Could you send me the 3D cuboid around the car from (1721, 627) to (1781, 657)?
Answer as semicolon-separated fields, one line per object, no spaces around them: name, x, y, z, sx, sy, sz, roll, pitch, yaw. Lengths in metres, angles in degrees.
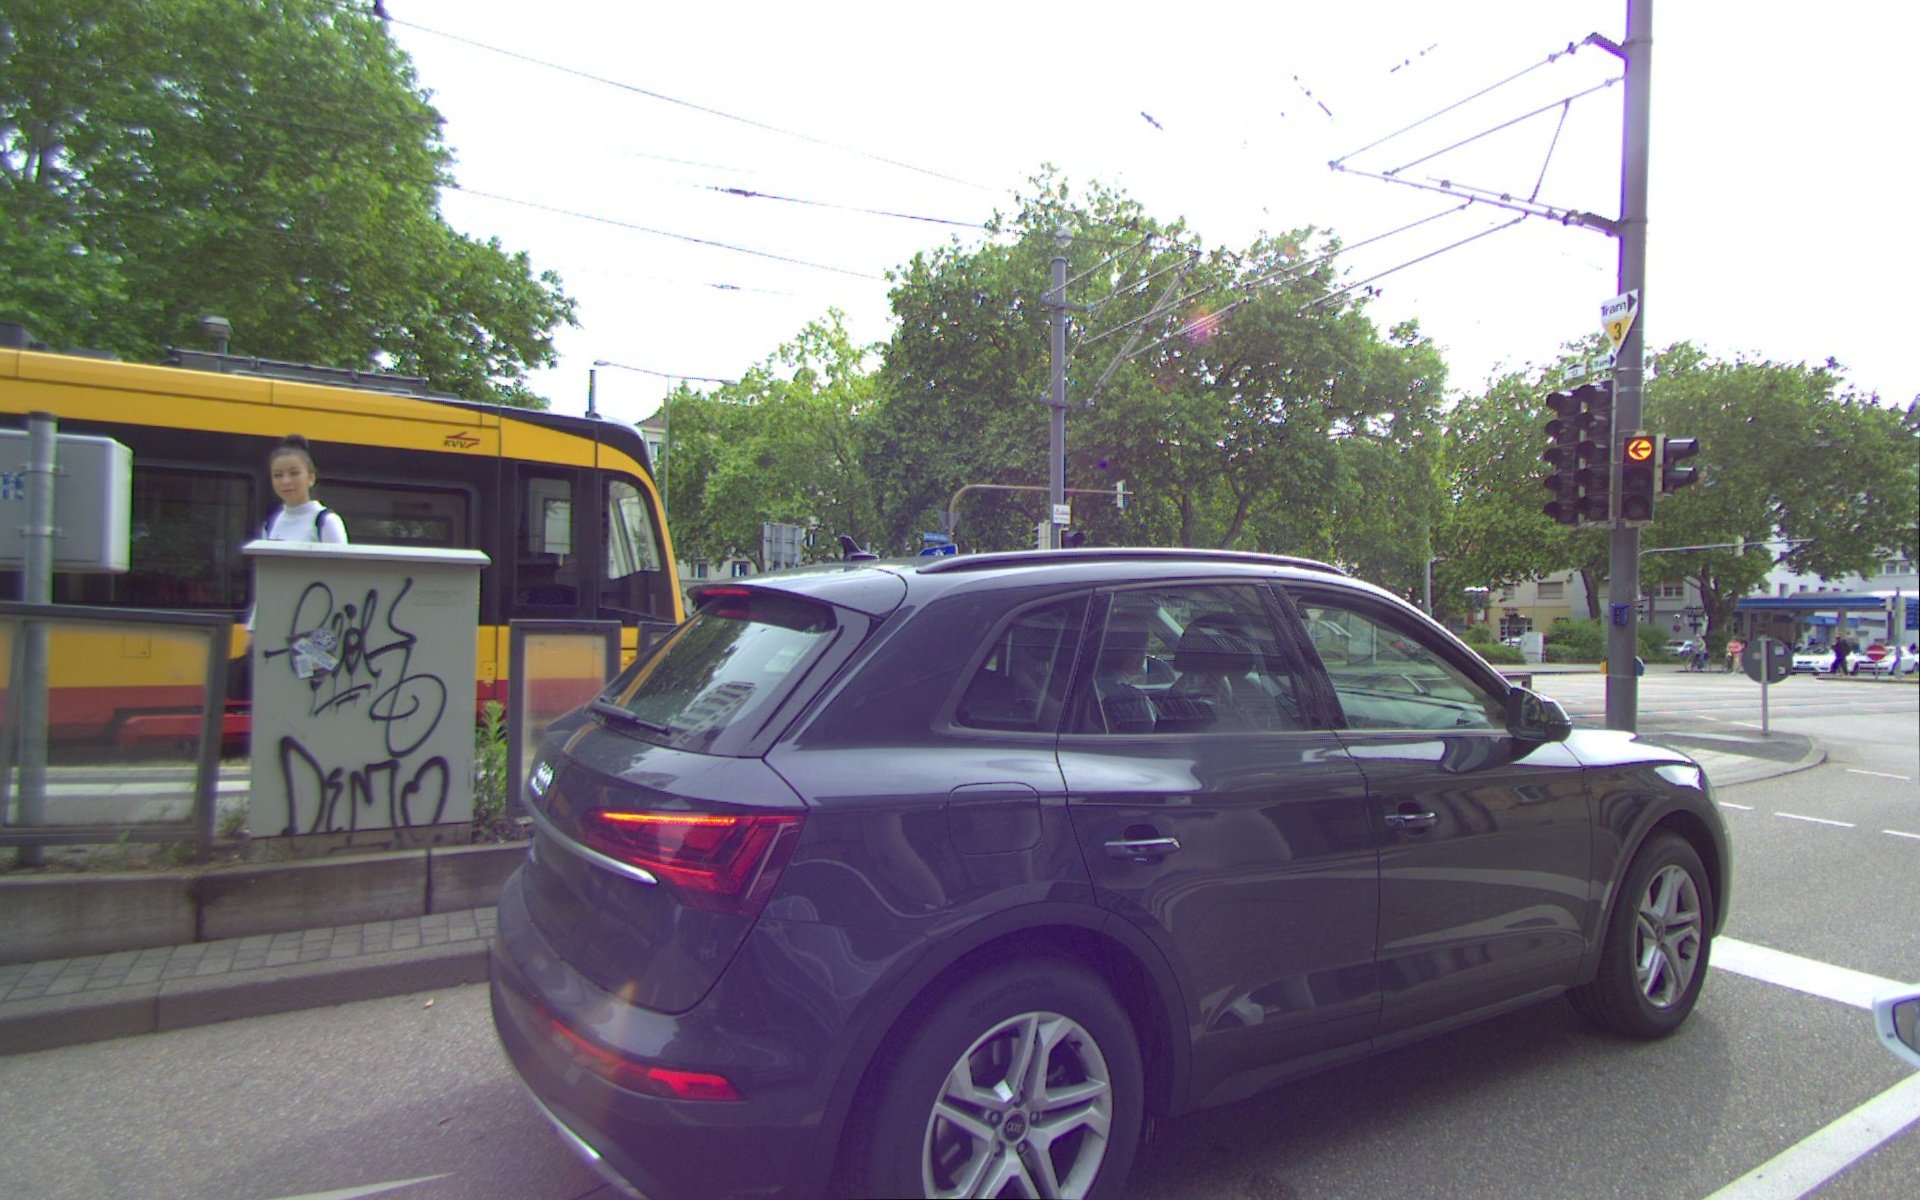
car;54.559;2.890;69.269;3.953;2.040;1.984;2;-1;-30

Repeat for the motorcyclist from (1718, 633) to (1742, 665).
motorcyclist;37.229;2.380;48.571;0.863;1.540;0.617;2;-1;-30

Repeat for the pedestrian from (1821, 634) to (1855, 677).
pedestrian;36.212;2.275;41.429;0.682;1.735;0.864;1;-1;-26

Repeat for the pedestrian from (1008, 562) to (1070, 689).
pedestrian;1.262;0.405;16.106;0.658;1.976;0.732;2;0;-30

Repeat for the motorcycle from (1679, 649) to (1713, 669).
motorcycle;35.938;2.875;49.027;1.928;0.941;0.604;2;-1;-30

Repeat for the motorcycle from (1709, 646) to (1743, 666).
motorcycle;36.923;2.681;48.432;1.928;0.941;0.604;2;-1;-30

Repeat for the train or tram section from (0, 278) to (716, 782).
train or tram section;-9.848;-0.601;7.991;15.026;3.802;3.314;2;0;-31

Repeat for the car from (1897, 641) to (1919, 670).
car;52.775;3.049;54.602;3.593;1.497;1.649;2;0;-29

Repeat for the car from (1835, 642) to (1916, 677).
car;46.972;3.037;51.520;3.953;1.615;1.984;2;0;-30

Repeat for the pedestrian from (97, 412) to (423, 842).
pedestrian;-3.138;0.107;4.556;0.709;1.692;0.977;2;0;31

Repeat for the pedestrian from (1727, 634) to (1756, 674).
pedestrian;33.755;2.333;43.388;0.732;1.713;0.681;2;0;-25

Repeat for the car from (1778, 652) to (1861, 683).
car;41.371;3.228;48.340;4.025;1.338;1.739;2;0;-29

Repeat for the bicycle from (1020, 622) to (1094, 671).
bicycle;2.765;1.308;28.705;1.962;1.289;0.749;2;0;31

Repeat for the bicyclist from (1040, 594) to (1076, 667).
bicyclist;2.806;0.865;28.735;0.682;2.040;0.781;2;0;32

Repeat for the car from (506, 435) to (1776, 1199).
car;0.820;0.611;3.459;4.177;1.658;1.725;2;0;-30

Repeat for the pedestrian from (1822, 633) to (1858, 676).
pedestrian;36.749;2.260;41.956;0.864;1.735;0.868;2;-1;-28

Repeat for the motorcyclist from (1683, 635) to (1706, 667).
motorcyclist;35.798;2.496;48.945;0.863;1.540;0.617;2;-1;-30
